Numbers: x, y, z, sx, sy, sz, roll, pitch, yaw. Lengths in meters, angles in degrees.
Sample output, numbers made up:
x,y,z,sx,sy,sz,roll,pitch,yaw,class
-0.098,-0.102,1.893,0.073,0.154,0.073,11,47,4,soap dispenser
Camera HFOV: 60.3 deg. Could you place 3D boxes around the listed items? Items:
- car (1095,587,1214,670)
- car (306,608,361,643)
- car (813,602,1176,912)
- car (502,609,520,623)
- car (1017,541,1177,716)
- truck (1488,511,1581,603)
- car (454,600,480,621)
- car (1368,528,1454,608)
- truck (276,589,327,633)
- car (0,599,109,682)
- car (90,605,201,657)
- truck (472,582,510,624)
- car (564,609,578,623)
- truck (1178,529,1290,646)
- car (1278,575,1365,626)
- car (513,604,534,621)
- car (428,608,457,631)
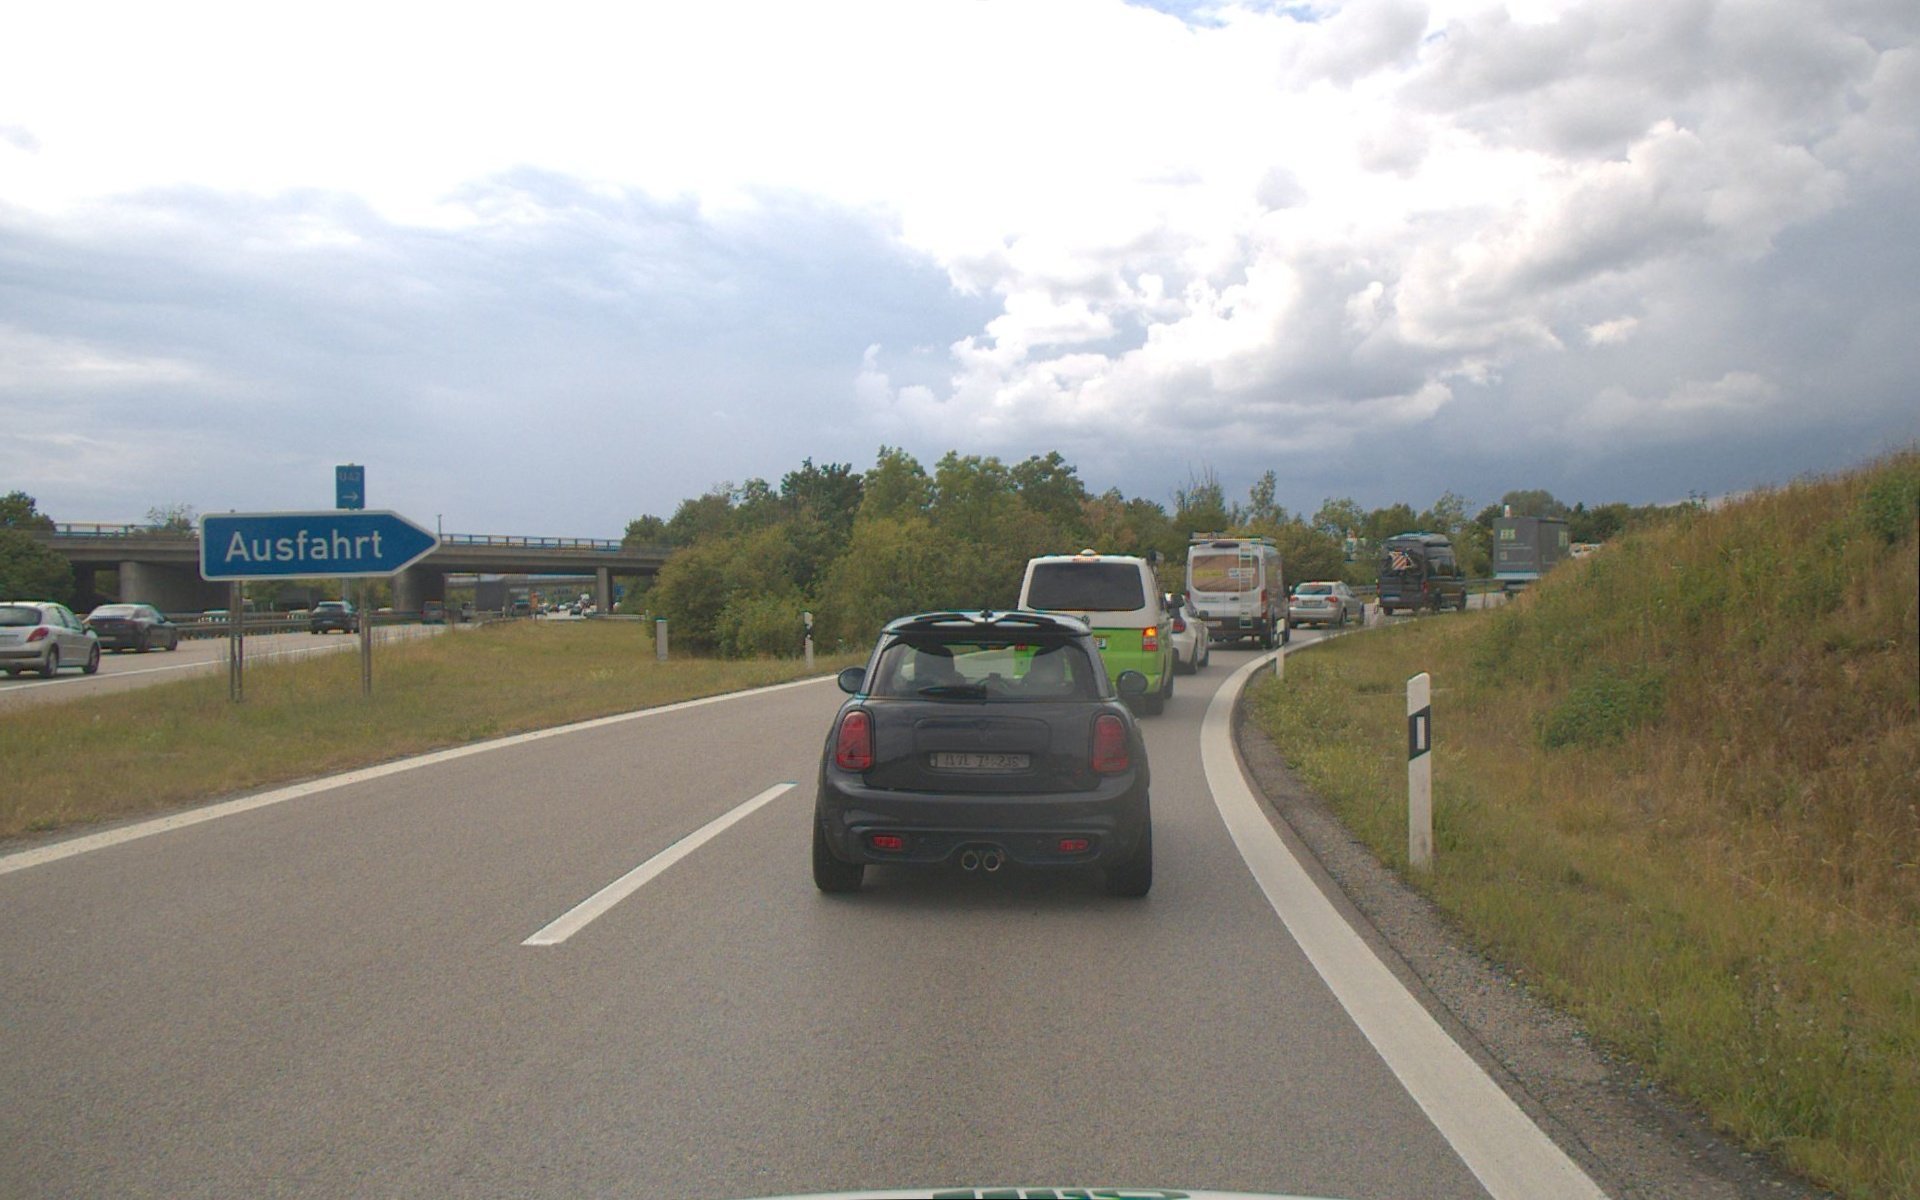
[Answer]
x,y,z,sx,sy,sz,roll,pitch,yaw,class
3.654,0.502,30.577,1.724,1.423,3.728,0,0,14,car
-33.575,1.364,88.740,1.958,1.774,4.815,-1,0,-12,car
0.187,0.742,9.618,1.691,1.438,3.725,0,0,1,car
-59.851,2.088,220.459,1.958,1.817,5.397,-1,0,-11,car
1.877,0.336,21.573,1.746,2.049,4.003,0,0,10,car
26.579,-1.914,76.374,2.193,3.975,5.987,0,-1,38,truck
-46.025,0.962,154.467,1.958,1.842,3.989,-1,0,-11,car
16.655,-1.132,60.914,2.066,2.845,3.992,1,0,30,car
-57.653,0.936,144.897,2.710,3.710,8.173,0,0,-11,truck
-18.560,0.779,33.084,1.687,1.545,3.988,-1,0,-12,car
-25.605,0.933,52.167,1.958,1.536,4.765,-1,0,-11,car
-39.477,0.301,139.292,2.424,3.430,7.900,-1,-1,-12,truck
-57.484,2.391,244.389,1.959,2.049,3.986,1,-1,-13,car
6.846,-0.312,40.858,2.132,2.705,5.112,0,1,16,truck
11.407,0.017,52.065,1.829,1.536,3.997,0,0,25,car
-47.919,1.345,181.694,1.842,1.782,4.475,-1,0,-11,car
-41.945,1.548,134.055,1.813,1.789,4.323,0,0,-12,car
